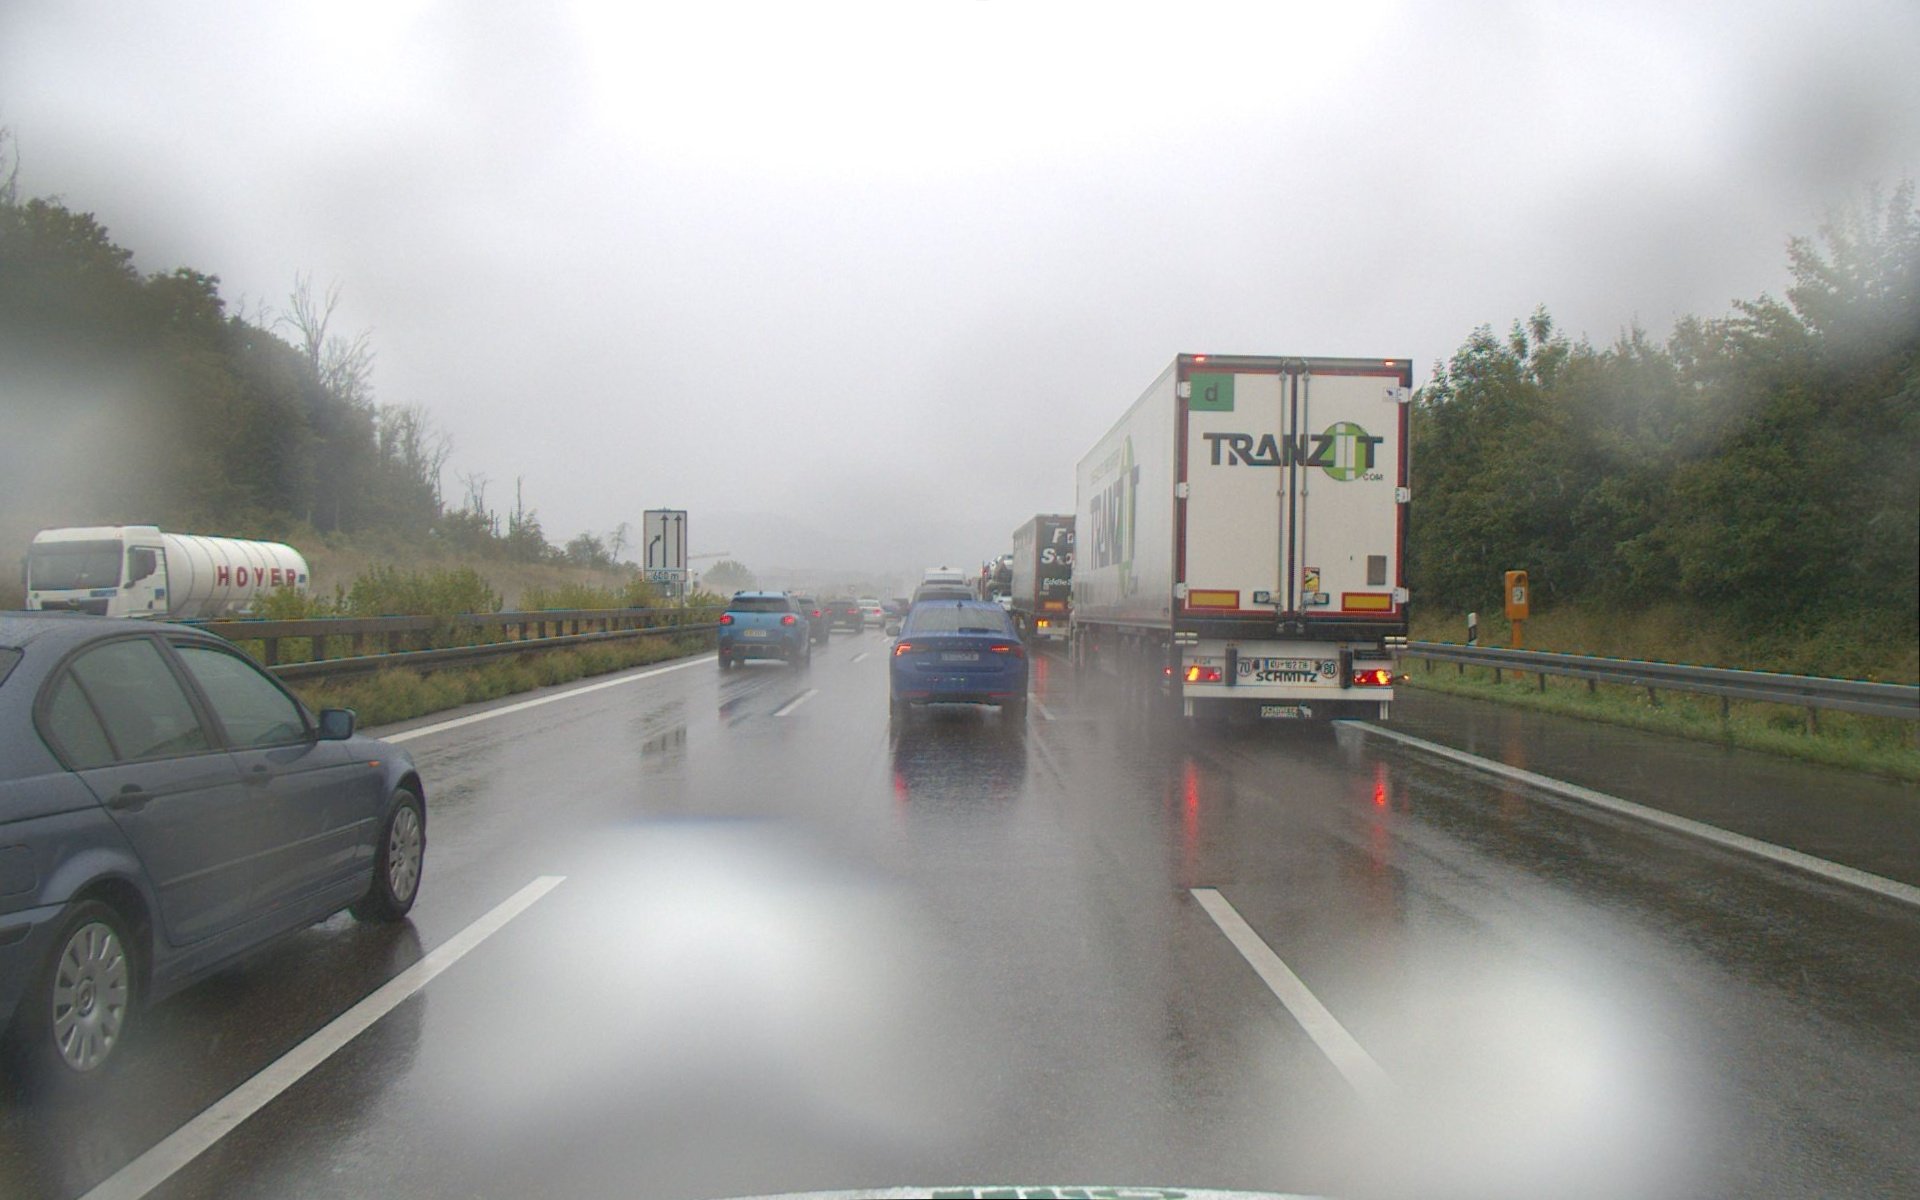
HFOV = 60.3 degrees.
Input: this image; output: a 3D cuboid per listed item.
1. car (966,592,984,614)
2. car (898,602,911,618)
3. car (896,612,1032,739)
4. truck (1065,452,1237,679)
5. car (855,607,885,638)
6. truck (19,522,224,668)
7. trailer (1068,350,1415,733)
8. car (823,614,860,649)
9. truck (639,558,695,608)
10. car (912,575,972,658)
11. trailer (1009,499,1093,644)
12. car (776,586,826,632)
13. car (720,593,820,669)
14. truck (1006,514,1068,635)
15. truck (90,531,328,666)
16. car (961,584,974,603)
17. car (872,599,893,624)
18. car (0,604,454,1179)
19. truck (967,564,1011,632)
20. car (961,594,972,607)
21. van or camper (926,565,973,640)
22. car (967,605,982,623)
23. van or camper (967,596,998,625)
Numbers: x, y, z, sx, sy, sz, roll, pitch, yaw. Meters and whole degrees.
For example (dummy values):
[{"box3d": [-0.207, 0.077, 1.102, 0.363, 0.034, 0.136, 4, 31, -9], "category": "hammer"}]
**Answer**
[{"box3d": [1.260, 0.258, 140.578, 1.419, 1.815, 3.408, 1, 0, -1], "category": "car"}, {"box3d": [-6.276, 1.147, 187.562, 1.419, 1.815, 3.408, 1, 0, -1], "category": "car"}, {"box3d": [0.049, 0.904, 21.505, 1.602, 1.470, 4.000, 0, 0, 0], "category": "car"}, {"box3d": [3.439, -0.598, 30.842, 2.577, 3.894, 4.790, 0, 0, -1], "category": "truck"}, {"box3d": [-4.710, 1.152, 86.986, 1.410, 1.560, 3.321, 0, 0, -1], "category": "car"}, {"box3d": [-20.703, -0.078, 41.162, 2.490, 3.337, 5.196, -2, -1, -2], "category": "truck"}, {"box3d": [3.501, -0.659, 25.031, 2.577, 4.083, 14.627, 0, 0, -1], "category": "trailer"}, {"box3d": [-5.145, 1.350, 72.337, 1.410, 1.445, 3.321, 0, 0, -1], "category": "car"}, {"box3d": [-17.480, -0.966, 98.902, 2.430, 2.767, 4.527, -1, -1, 0], "category": "truck"}, {"box3d": [-0.411, 0.355, 38.142, 1.309, 1.811, 3.321, 0, 0, -1], "category": "car"}, {"box3d": [2.839, -0.860, 54.320, 2.005, 4.250, 11.446, 0, 0, -1], "category": "trailer"}, {"box3d": [-5.152, 0.269, 53.844, 1.331, 1.456, 3.363, 0, 0, -1], "category": "car"}, {"box3d": [-4.050, 0.630, 35.824, 1.686, 1.550, 4.000, 0, 0, 0], "category": "car"}, {"box3d": [2.768, -0.902, 60.251, 2.005, 4.266, 3.999, 0, 0, -1], "category": "truck"}, {"box3d": [-20.812, 0.065, 46.559, 2.503, 3.356, 9.346, -1, -1, -1], "category": "truck"}, {"box3d": [0.796, -0.696, 174.970, 1.308, 1.923, 3.039, -1, 0, -1], "category": "car"}, {"box3d": [-5.781, 0.857, 123.169, 1.419, 1.815, 3.408, 1, 0, -1], "category": "car"}, {"box3d": [-3.264, 0.738, 5.836, 1.683, 1.424, 4.229, 0, 0, -1], "category": "car"}, {"box3d": [1.519, -0.146, 89.995, 1.953, 3.481, 8.029, 0, 1, -2], "category": "truck"}, {"box3d": [0.910, 0.092, 229.248, 1.419, 1.815, 3.408, 1, 0, -1], "category": "car"}, {"box3d": [-0.433, 0.069, 65.699, 1.761, 2.855, 4.767, 0, 0, -1], "category": "van or camper"}, {"box3d": [1.318, 1.258, 152.222, 1.223, 1.538, 3.107, 0, 1, -1], "category": "car"}, {"box3d": [1.345, 0.601, 99.692, 1.736, 1.653, 4.483, 0, 1, -1], "category": "van or camper"}]
